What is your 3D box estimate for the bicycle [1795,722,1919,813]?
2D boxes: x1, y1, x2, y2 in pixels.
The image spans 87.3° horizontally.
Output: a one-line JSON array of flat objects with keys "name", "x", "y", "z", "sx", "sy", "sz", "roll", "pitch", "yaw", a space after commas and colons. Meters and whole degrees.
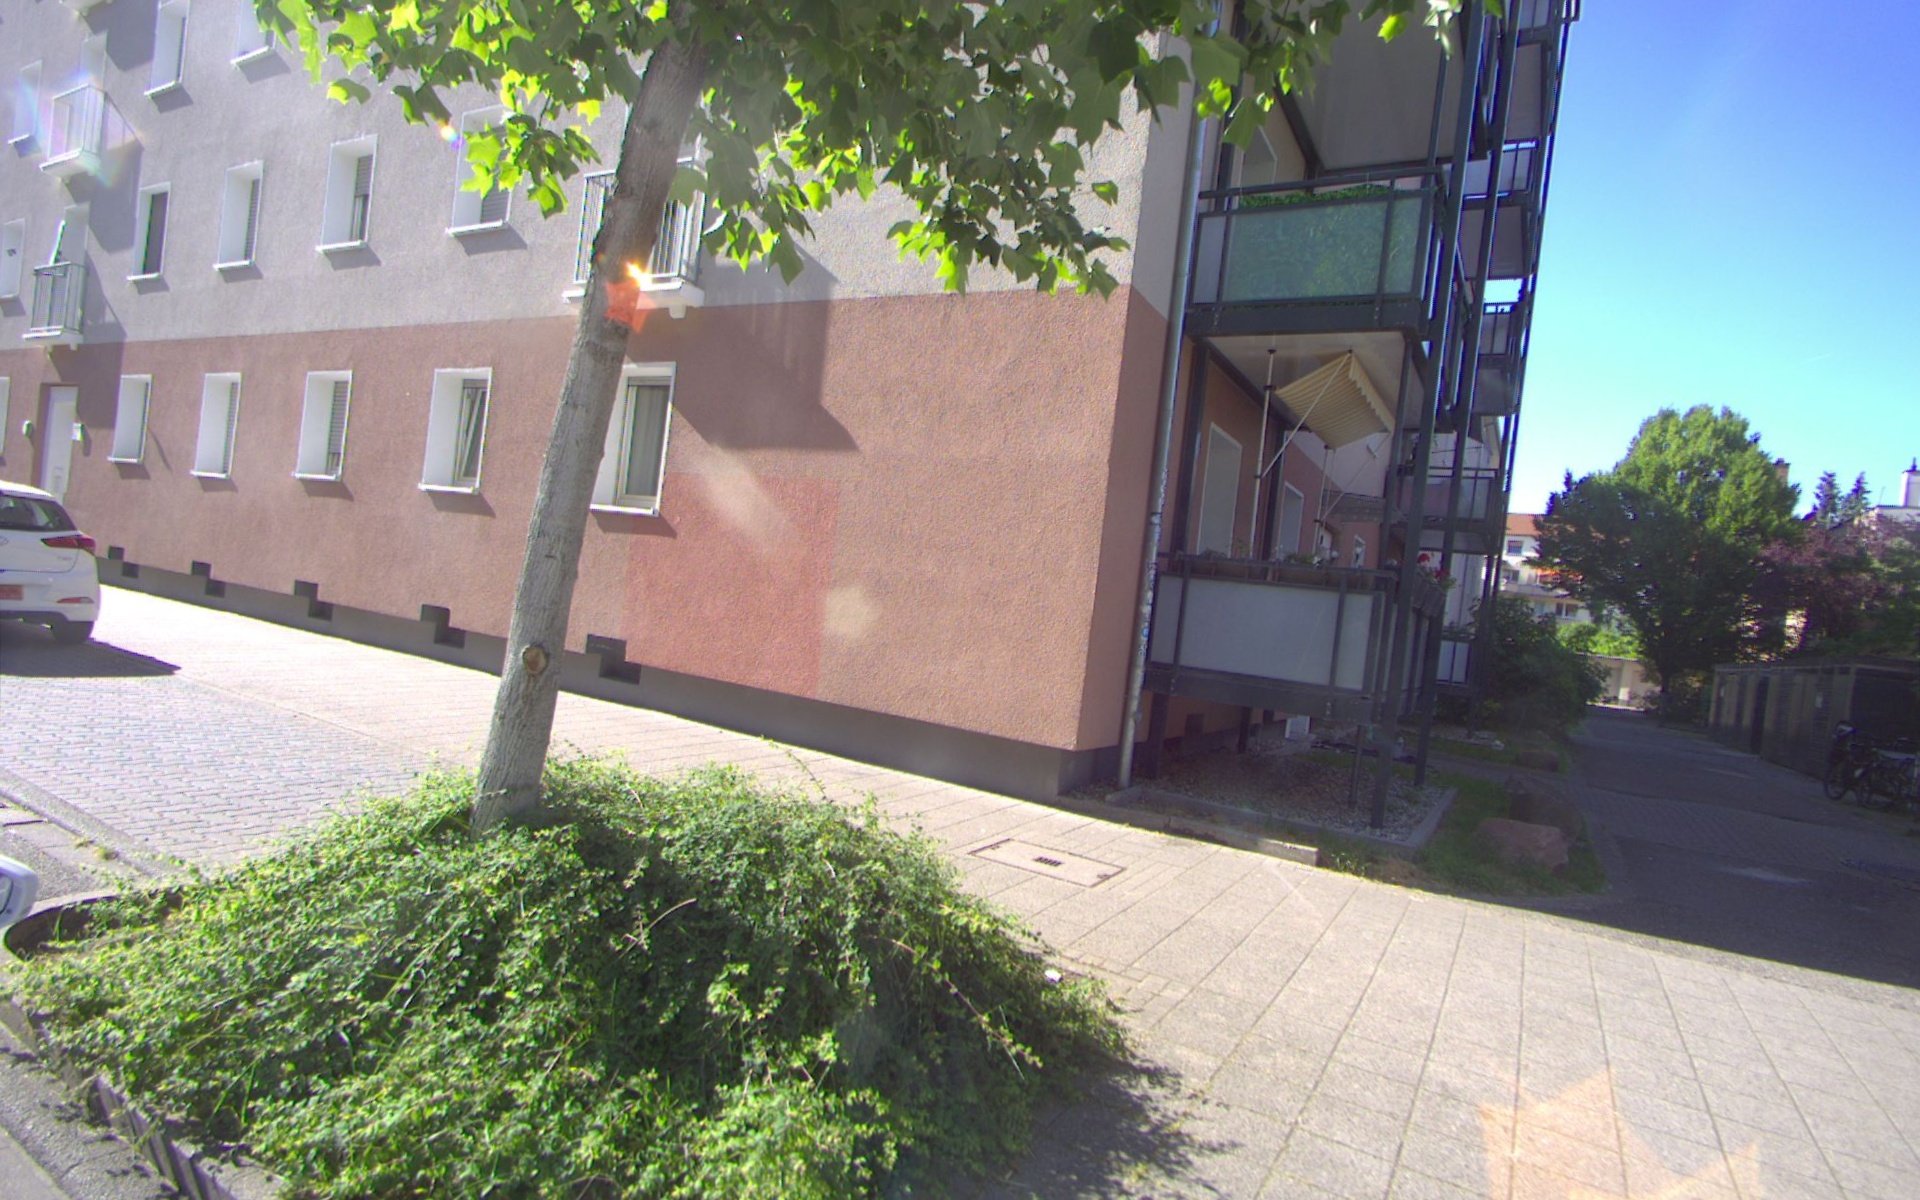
[{"name": "bicycle", "x": 13.872, "y": 2.554, "z": 15.447, "sx": 1.456, "sy": 1.112, "sz": 0.556, "roll": 7, "pitch": 1, "yaw": 33}]

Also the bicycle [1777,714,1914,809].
[{"name": "bicycle", "x": 14.076, "y": 2.544, "z": 16.036, "sx": 1.456, "sy": 1.221, "sz": 0.556, "roll": 7, "pitch": 1, "yaw": 33}]

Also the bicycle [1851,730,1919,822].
[{"name": "bicycle", "x": 13.435, "y": 2.501, "z": 14.262, "sx": 0.547, "sy": 1.112, "sz": 1.719, "roll": 7, "pitch": 0, "yaw": 22}]

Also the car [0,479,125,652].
[{"name": "car", "x": -9.980, "y": -0.486, "z": 9.682, "sx": 3.730, "sy": 1.505, "sz": 1.733, "roll": 7, "pitch": 2, "yaw": 30}]
